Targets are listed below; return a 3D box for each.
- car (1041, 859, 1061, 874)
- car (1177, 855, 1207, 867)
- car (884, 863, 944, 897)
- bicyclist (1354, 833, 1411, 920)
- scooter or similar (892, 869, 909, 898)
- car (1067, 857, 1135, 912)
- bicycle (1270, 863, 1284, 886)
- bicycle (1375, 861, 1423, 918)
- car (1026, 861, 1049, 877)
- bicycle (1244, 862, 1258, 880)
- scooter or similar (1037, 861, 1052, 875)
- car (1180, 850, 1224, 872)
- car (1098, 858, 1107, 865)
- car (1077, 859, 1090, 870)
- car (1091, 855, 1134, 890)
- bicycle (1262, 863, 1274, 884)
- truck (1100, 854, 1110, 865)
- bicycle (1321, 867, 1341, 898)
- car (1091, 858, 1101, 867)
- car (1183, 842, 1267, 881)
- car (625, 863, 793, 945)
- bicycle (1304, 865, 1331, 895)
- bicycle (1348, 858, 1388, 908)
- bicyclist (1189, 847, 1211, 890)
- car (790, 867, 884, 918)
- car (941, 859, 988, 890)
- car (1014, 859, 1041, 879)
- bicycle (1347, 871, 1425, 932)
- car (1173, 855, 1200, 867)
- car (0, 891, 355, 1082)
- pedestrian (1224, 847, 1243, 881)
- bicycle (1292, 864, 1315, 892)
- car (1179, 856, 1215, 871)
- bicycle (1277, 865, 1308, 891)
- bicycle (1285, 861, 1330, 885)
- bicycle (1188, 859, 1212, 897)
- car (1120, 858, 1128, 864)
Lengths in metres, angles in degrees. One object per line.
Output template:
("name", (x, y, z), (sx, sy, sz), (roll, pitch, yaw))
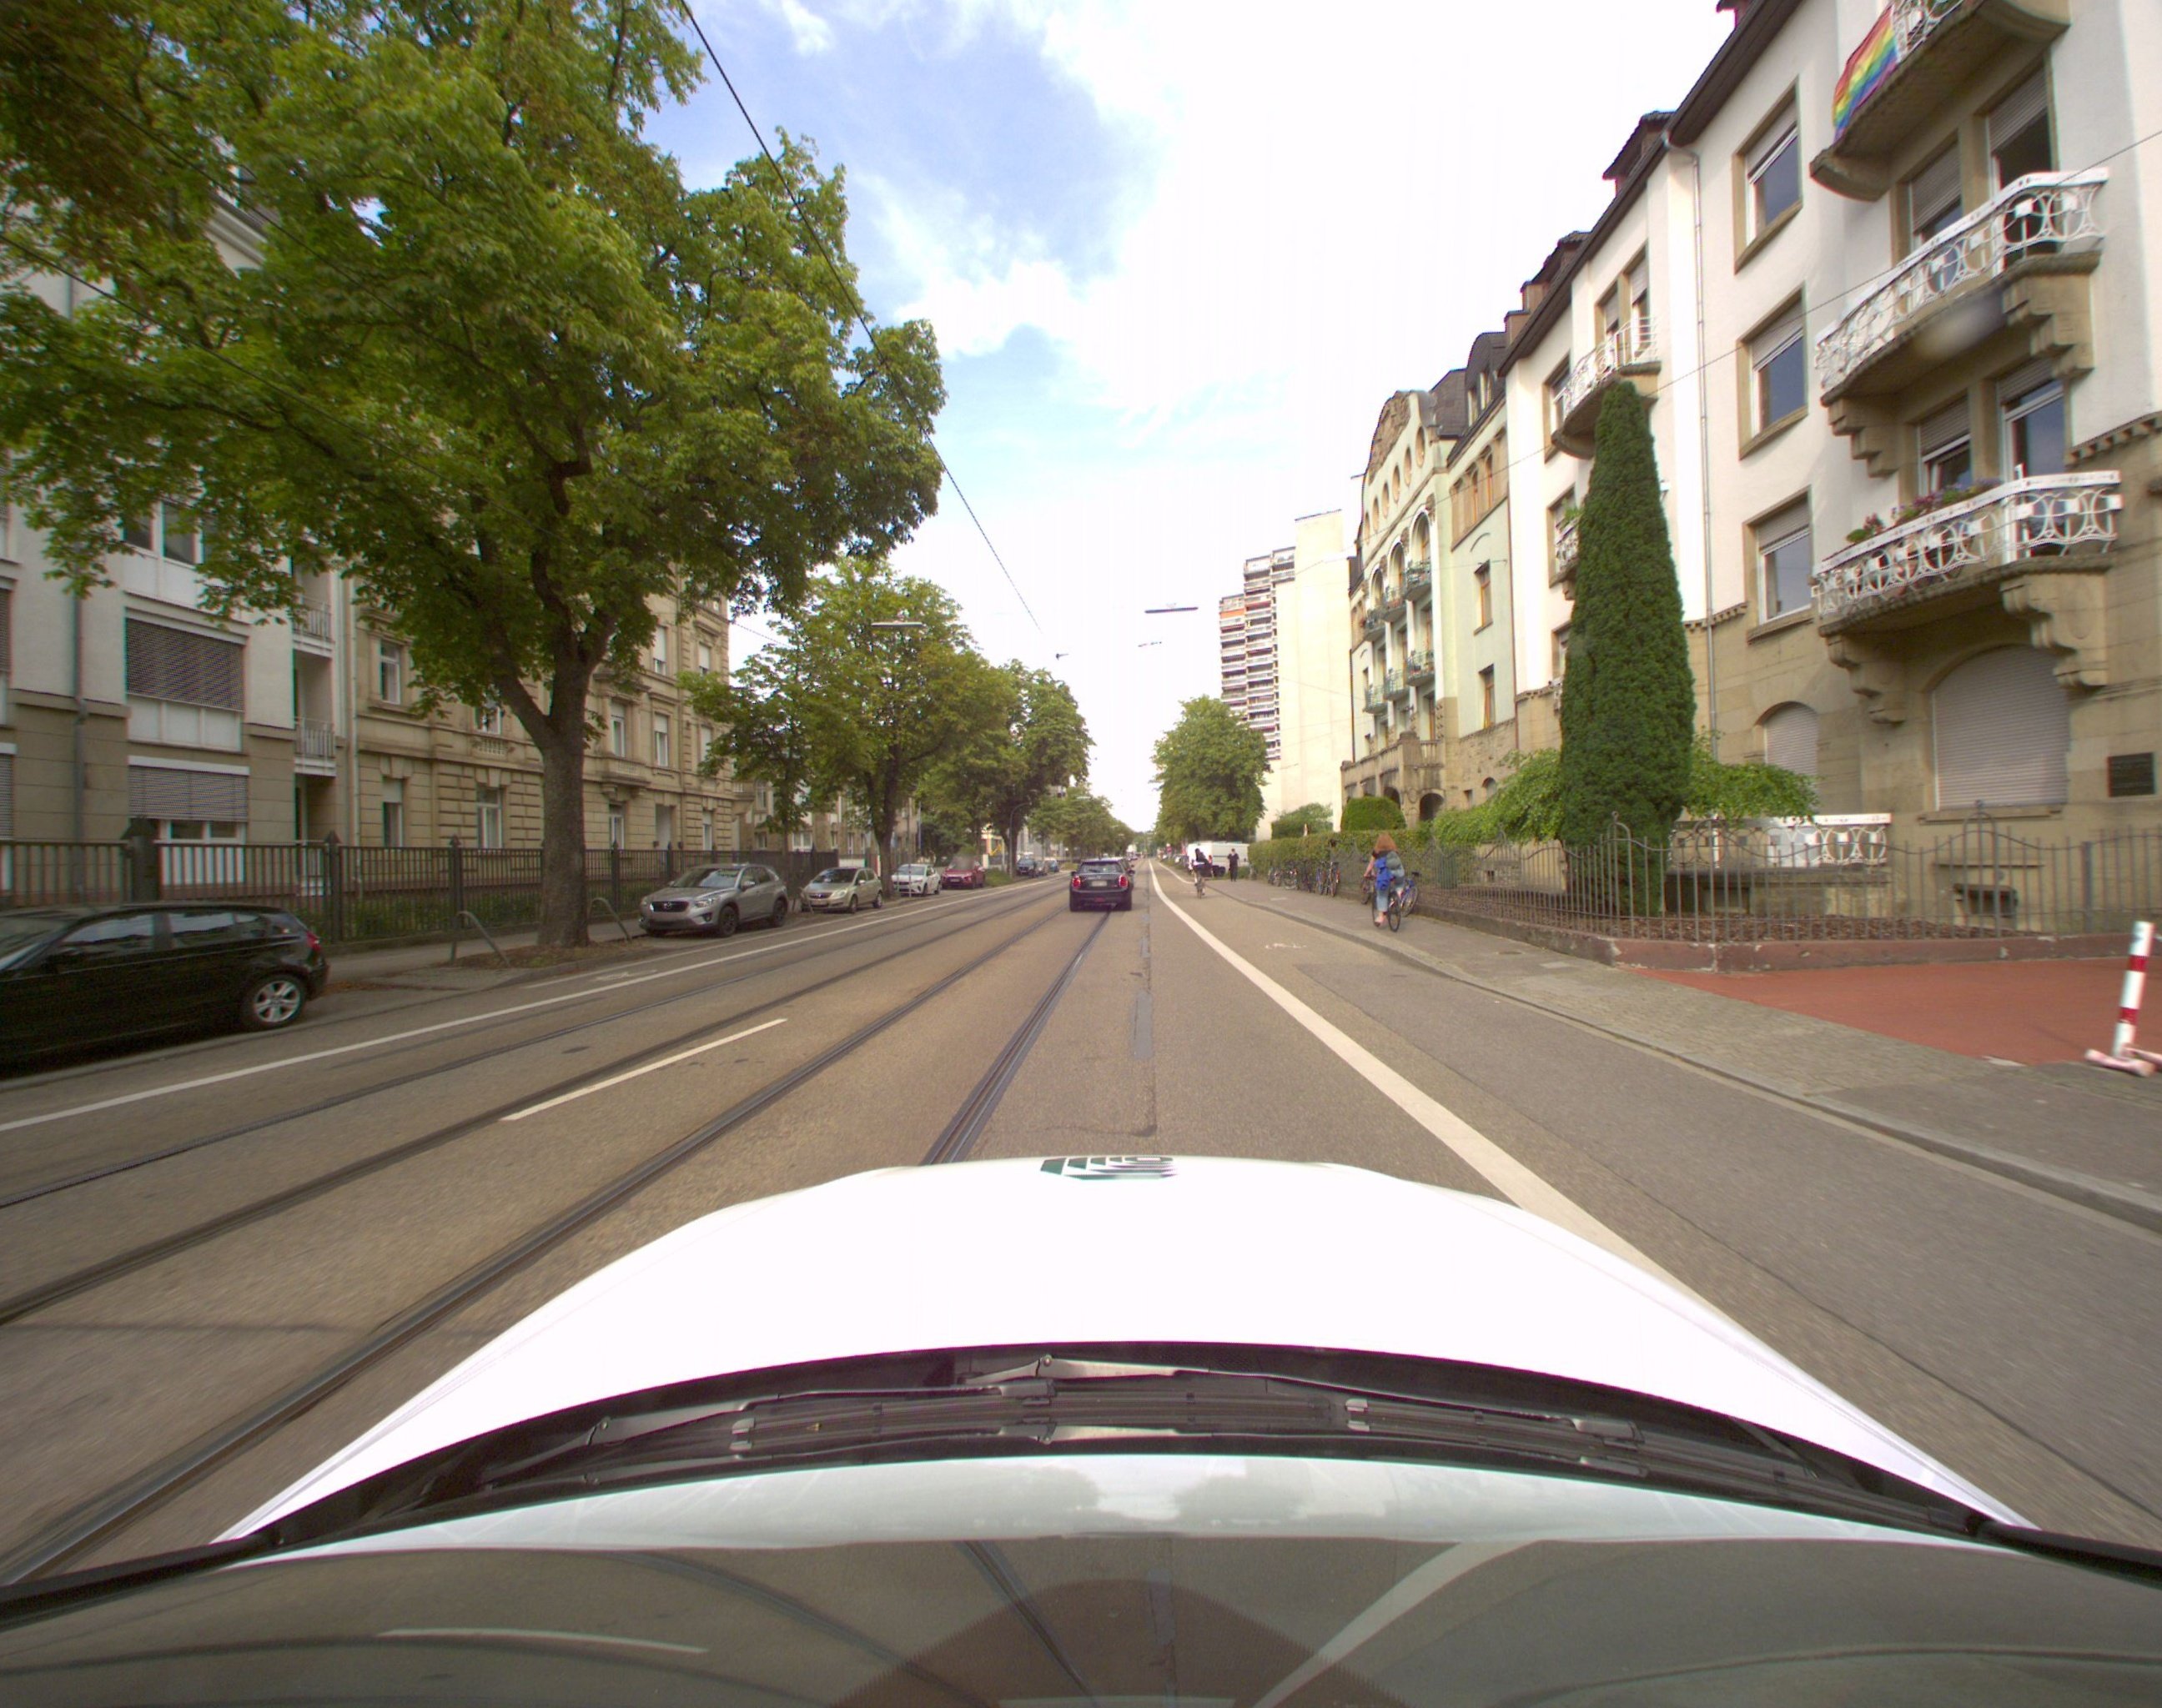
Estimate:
("car", (-3.200, 1.342, 87.574), (1.685, 1.487, 3.681), (-1, 0, 4))
("car", (14.210, 0.953, 104.340), (3.550, 1.442, 1.606), (-1, -1, -35))
("car", (-7.648, 1.171, 37.718), (1.714, 1.424, 4.027), (1, 0, 4))
("bicyclist", (5.361, 0.389, 14.507), (0.645, 1.470, 0.801), (-4, 0, 2))
("scooter or similar", (-7.722, 1.243, 34.819), (0.562, 1.223, 1.315), (-1, 0, -19))
("car", (0.608, 0.818, 23.538), (1.786, 1.423, 4.002), (-1, 0, 2))
("bicycle", (8.123, 0.855, 33.801), (0.383, 0.907, 1.669), (-3, -1, 9))
("bicycle", (6.595, 0.704, 16.975), (0.390, 1.103, 1.761), (-3, 0, 5))
("car", (-4.003, 1.352, 75.590), (1.685, 1.427, 3.872), (-1, 0, 4))
("bicycle", (8.750, 0.866, 42.047), (0.384, 0.907, 1.843), (-3, -1, 3))
("scooter or similar", (-3.730, 1.439, 83.363), (1.436, 1.344, 0.701), (-3, -1, 6))
("car", (11.531, 0.641, 77.522), (4.298, 2.015, 1.810), (0, -1, -41))
("car", (4.765, 1.686, 181.914), (1.794, 1.583, 4.035), (-3, -1, 4))
("car", (0.464, 1.691, 131.823), (1.794, 1.583, 4.035), (-3, -1, 4))
("car", (1.380, 0.777, 36.467), (1.787, 1.470, 4.001), (0, 0, 1))
("bicycle", (8.445, 0.859, 36.780), (0.383, 0.907, 1.669), (-3, -1, 9))
("truck", (5.851, 1.288, 194.977), (2.062, 2.470, 4.904), (-3, -1, 4))
("bicycle", (7.332, 0.824, 23.880), (0.276, 0.852, 1.199), (-3, -1, 5))
("car", (3.016, 1.648, 161.643), (1.794, 1.583, 4.035), (-3, -1, 4))
("car", (8.972, 0.446, 50.529), (4.983, 2.290, 2.357), (0, -1, -39))
("car", (-8.662, 1.085, 19.432), (1.702, 1.673, 4.362), (-1, 0, 4))
("bicycle", (7.442, 0.801, 25.691), (0.483, 0.907, 1.667), (-3, -1, 5))
("bicycle", (6.916, 0.671, 19.678), (0.390, 1.142, 1.923), (-3, 0, 5))
("bicyclist", (4.123, 0.498, 28.218), (0.654, 1.463, 1.179), (-1, 0, 3))
("car", (-7.940, 1.197, 26.911), (1.593, 1.468, 4.084), (-1, 0, 4))
("car", (-6.558, 1.124, 46.379), (1.714, 1.655, 4.547), (1, 0, 4))
("car", (-4.496, 1.232, 69.017), (1.748, 1.647, 4.056), (-1, 0, 4))
("bicycle", (5.403, 0.805, 14.562), (0.686, 0.962, 2.037), (-2, 0, 2))
("car", (14.329, 0.934, 110.337), (3.461, 1.573, 1.543), (-1, -1, -35))
("car", (-9.675, 1.164, 7.633), (1.711, 1.424, 4.173), (1, 0, 6))
("pedestrian", (7.955, 0.506, 42.589), (0.782, 1.733, 0.897), (-4, -1, 4))
("bicycle", (7.491, 0.802, 27.479), (0.483, 0.907, 1.668), (-3, -1, 8))
("car", (11.935, 0.930, 83.807), (3.850, 1.460, 1.620), (0, -1, -43))
("bicycle", (7.606, 0.852, 29.390), (0.485, 0.907, 1.661), (-2, -1, -7))
("bicycle", (9.158, 0.755, 32.895), (1.653, 0.907, 0.487), (-3, -1, 2))
("bicycle", (4.117, 0.799, 28.286), (0.654, 1.249, 2.127), (-1, 0, 3))
("car", (11.539, 1.790, 218.105), (1.826, 1.448, 4.558), (-1, 0, 4))
